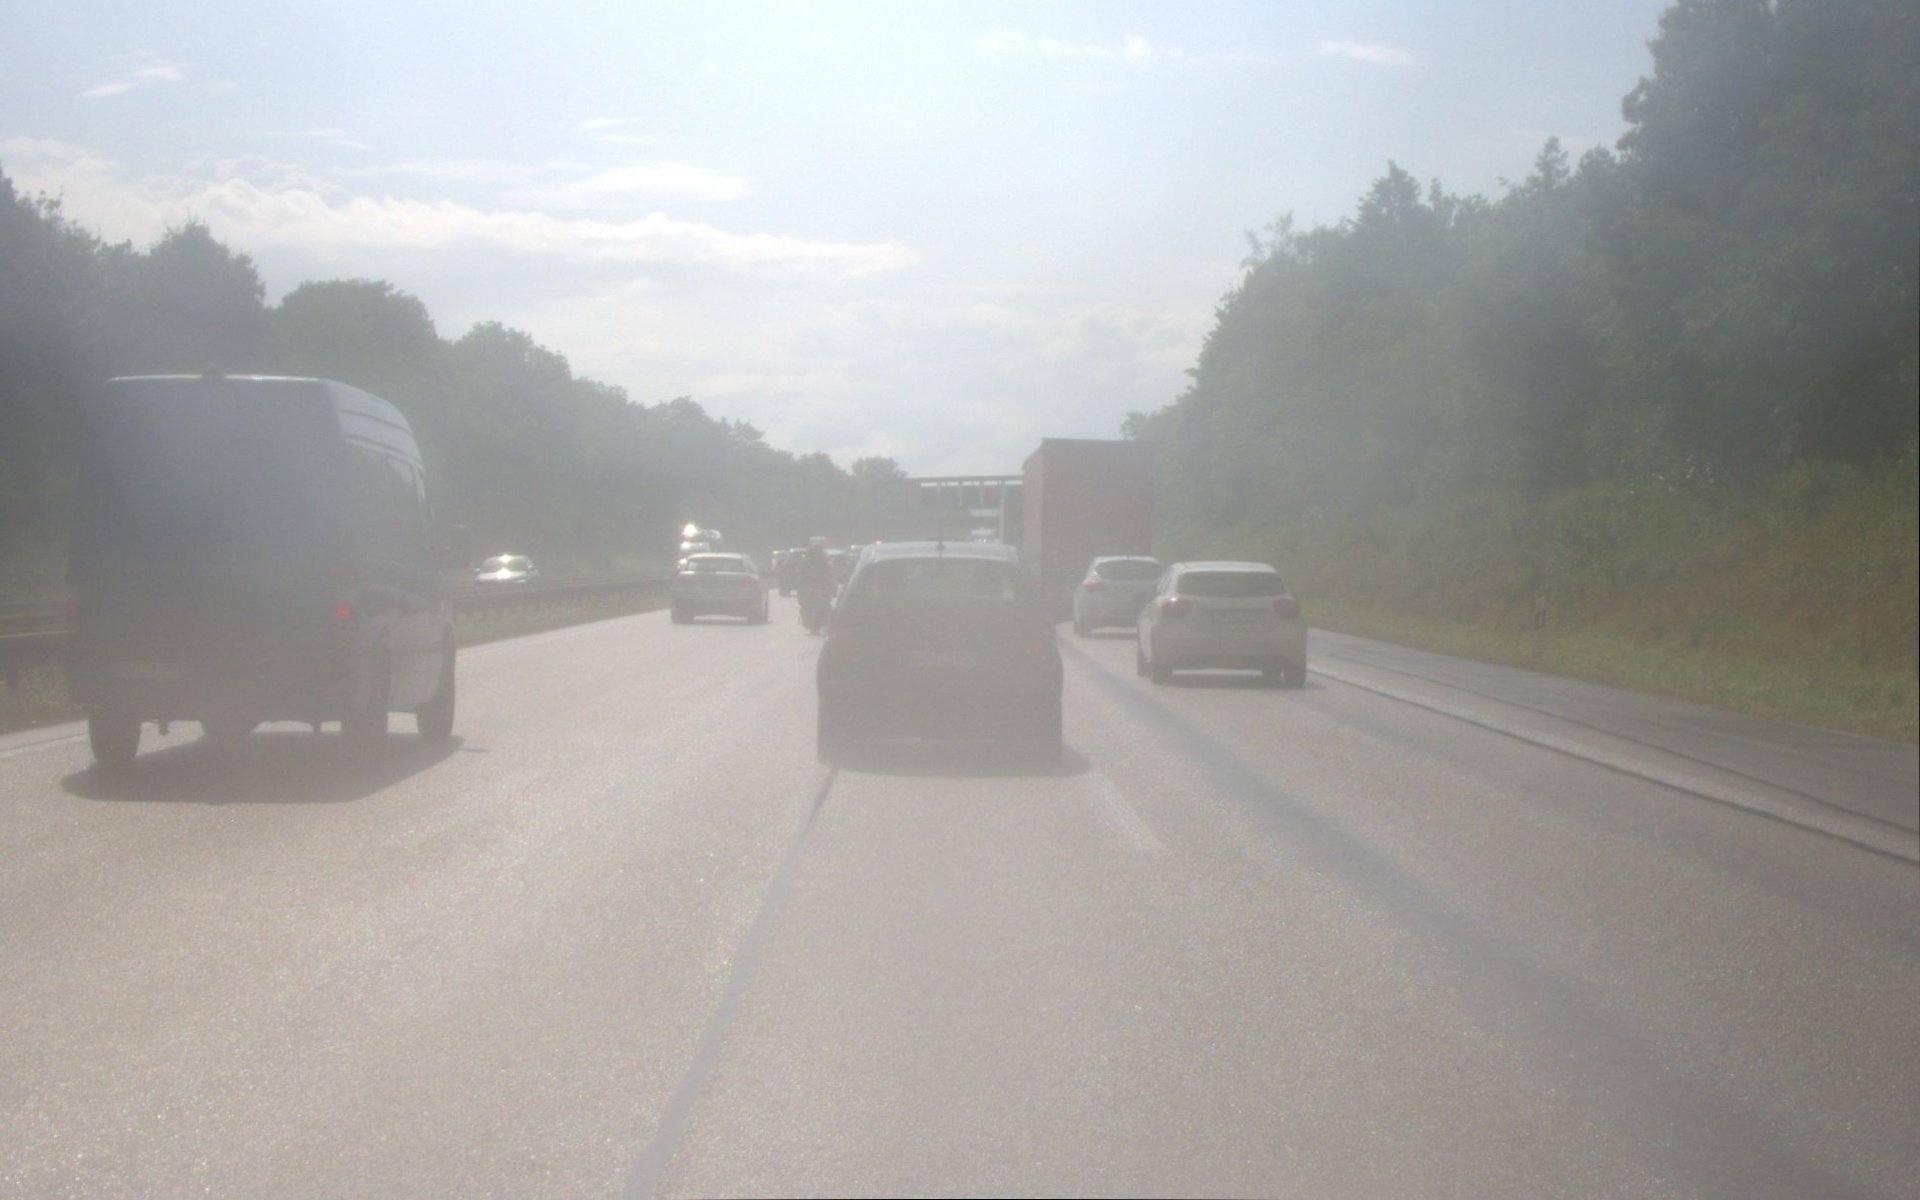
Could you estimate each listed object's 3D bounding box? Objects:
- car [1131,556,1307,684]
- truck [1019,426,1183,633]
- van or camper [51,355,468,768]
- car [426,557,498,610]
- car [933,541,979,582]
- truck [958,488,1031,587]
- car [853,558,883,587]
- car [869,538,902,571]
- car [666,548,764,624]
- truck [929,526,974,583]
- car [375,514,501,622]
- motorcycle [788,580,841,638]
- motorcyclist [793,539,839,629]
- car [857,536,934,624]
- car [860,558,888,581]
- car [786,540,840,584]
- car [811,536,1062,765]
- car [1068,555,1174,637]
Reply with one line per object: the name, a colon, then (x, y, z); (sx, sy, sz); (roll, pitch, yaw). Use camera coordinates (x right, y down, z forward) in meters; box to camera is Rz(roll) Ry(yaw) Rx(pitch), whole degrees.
car: (3.025, 0.200, 40.843); (1.692, 1.420, 4.220); (1, 1, -1)
truck: (3.373, -1.699, 87.023); (3.650, 4.704, 16.779); (1, 1, 1)
van or camper: (-4.937, -0.278, 25.038); (1.993, 2.659, 5.385); (1, 1, -1)
car: (-16.069, -0.547, 111.059); (1.731, 1.657, 4.236); (1, 1, -1)
car: (-0.147, -1.354, 120.906); (1.552, 1.378, 3.210); (1, 1, -1)
truck: (1.661, -2.893, 162.483); (3.256, 4.464, 12.421); (1, 1, 1)
car: (-4.583, -1.385, 171.523); (1.485, 1.385, 3.198); (1, 1, -1)
car: (-4.662, -2.857, 215.840); (1.993, 2.007, 4.000); (-1, 1, -1)
car: (-5.113, -0.304, 72.120); (1.854, 1.546, 3.485); (1, 1, -1)
truck: (-0.444, -2.331, 177.482); (2.192, 2.865, 4.850); (1, 1, -1)
car: (-12.289, -0.757, 81.283); (2.183, 2.444, 5.748); (1, 1, -1)
motorcycle: (-2.648, 0.152, 62.890); (0.890, 0.997, 2.896); (1, 1, -1)
motorcyclist: (-2.627, -0.293, 62.841); (0.801, 1.627, 1.013); (1, 0, -1)
car: (-1.328, -0.419, 70.840); (1.531, 1.740, 3.485); (1, 1, -1)
car: (-4.849, -1.725, 194.722); (1.549, 1.262, 3.485); (1, 1, -1)
car: (-5.000, -1.295, 117.389); (1.751, 1.452, 3.390); (1, 1, -1)
car: (-0.190, 0.332, 25.549); (1.717, 1.562, 3.485); (1, 1, -1)
car: (2.925, -0.086, 63.019); (1.680, 1.437, 3.905); (1, 1, -1)
